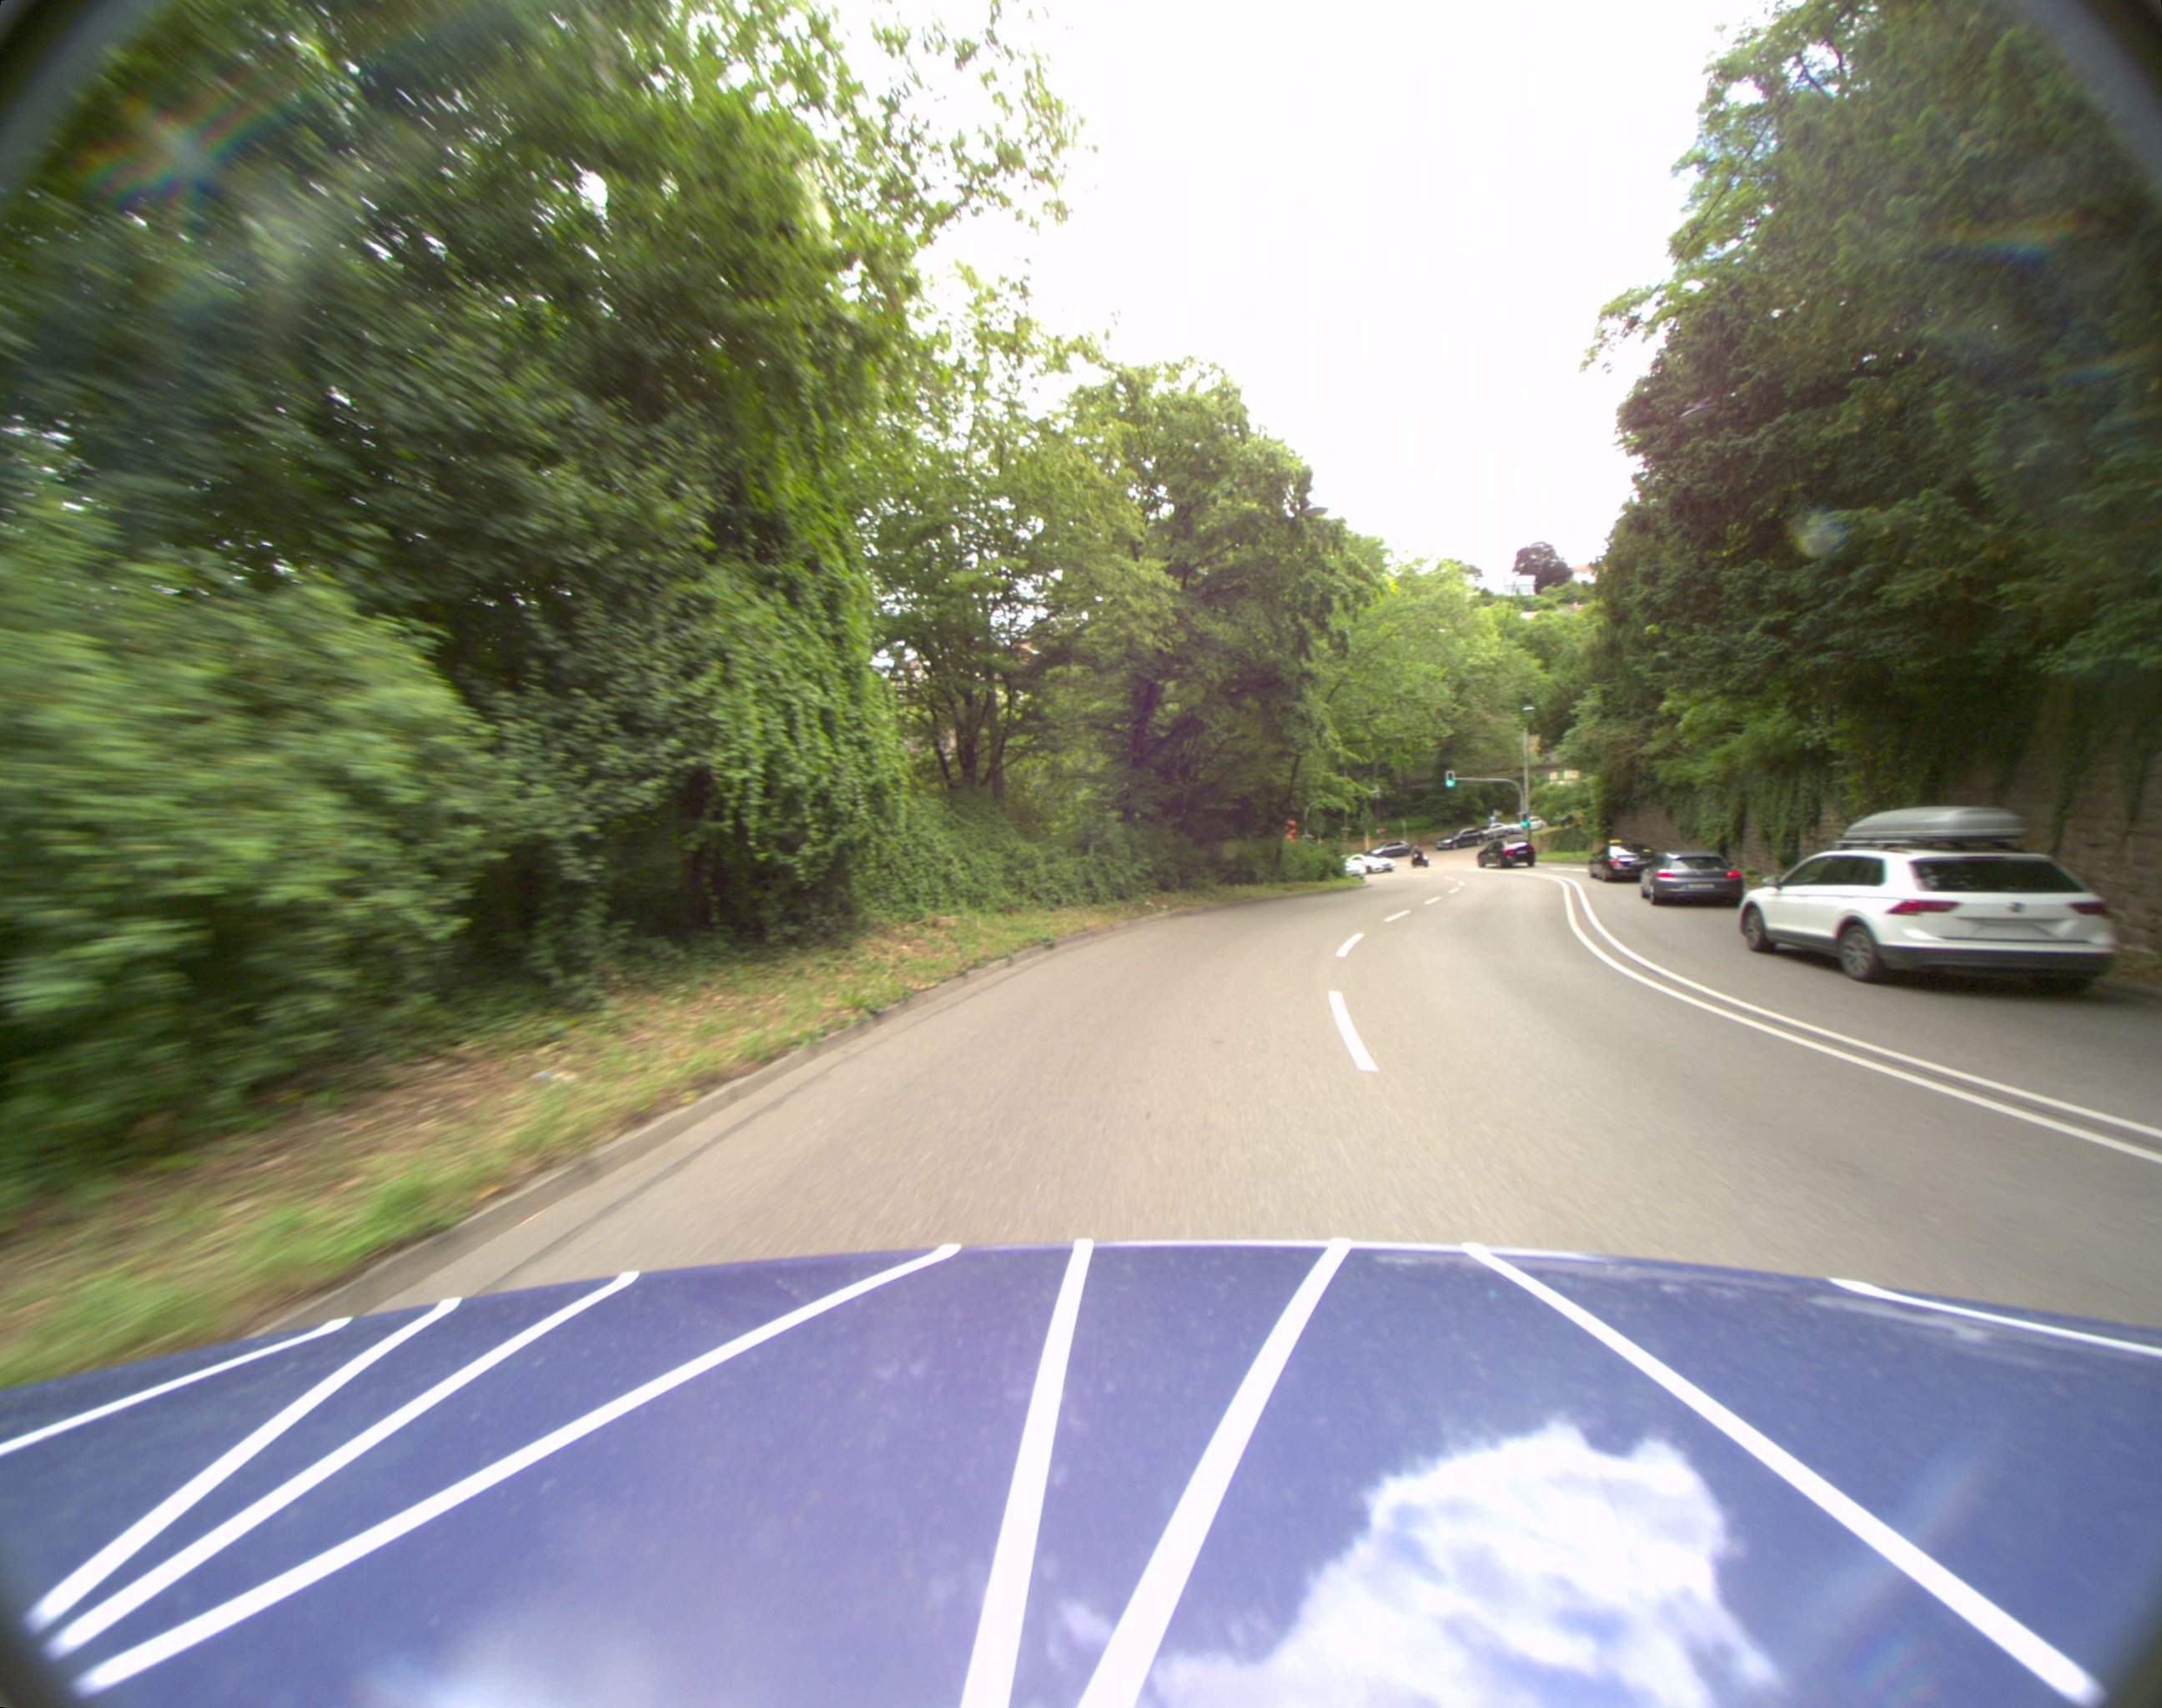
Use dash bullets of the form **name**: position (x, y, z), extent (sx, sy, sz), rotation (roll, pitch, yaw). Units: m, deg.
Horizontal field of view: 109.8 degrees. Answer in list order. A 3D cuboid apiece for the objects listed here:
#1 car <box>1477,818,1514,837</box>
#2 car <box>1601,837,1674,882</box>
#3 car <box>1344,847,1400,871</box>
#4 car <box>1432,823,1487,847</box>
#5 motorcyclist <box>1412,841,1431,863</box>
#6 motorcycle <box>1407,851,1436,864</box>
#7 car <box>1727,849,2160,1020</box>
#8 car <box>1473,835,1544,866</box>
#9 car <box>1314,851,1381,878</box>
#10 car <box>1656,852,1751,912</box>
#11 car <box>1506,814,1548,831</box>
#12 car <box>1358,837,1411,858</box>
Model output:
- **car**: position (41.113, -2.622, 75.419), extent (3.268, 1.440, 1.502), rotation (-9, 5, -24)
- **car**: position (21.488, 0.170, 29.497), extent (1.863, 1.588, 4.639), rotation (-2, 0, 32)
- **car**: position (21.281, 0.385, 55.700), extent (1.917, 1.469, 4.525), rotation (-6, -1, -5)
- **car**: position (35.089, -1.782, 70.390), extent (4.545, 1.675, 1.805), rotation (-8, 3, -19)
- **motorcyclist**: position (24.713, -0.143, 55.145), extent (0.749, 1.520, 1.094), rotation (-2, 1, -5)
- **motorcycle**: position (24.728, 0.231, 55.196), extent (0.811, 0.884, 2.428), rotation (-2, 1, -5)
- **car**: position (10.435, 0.777, 9.790), extent (1.771, 1.643, 4.393), rotation (1, 1, 20)
- **car**: position (25.379, -0.180, 45.286), extent (1.854, 1.639, 4.513), rotation (-5, -1, 5)
- **car**: position (17.884, 0.731, 51.263), extent (1.919, 1.542, 4.522), rotation (-5, -1, -15)
- **car**: position (16.264, 0.649, 20.024), extent (1.771, 1.332, 3.968), rotation (0, 2, 37)
- **car**: position (45.654, -3.238, 77.735), extent (4.026, 1.322, 1.625), rotation (-9, 5, -23)
- **car**: position (27.430, -0.600, 68.689), extent (3.998, 1.351, 1.752), rotation (-8, 2, -5)
